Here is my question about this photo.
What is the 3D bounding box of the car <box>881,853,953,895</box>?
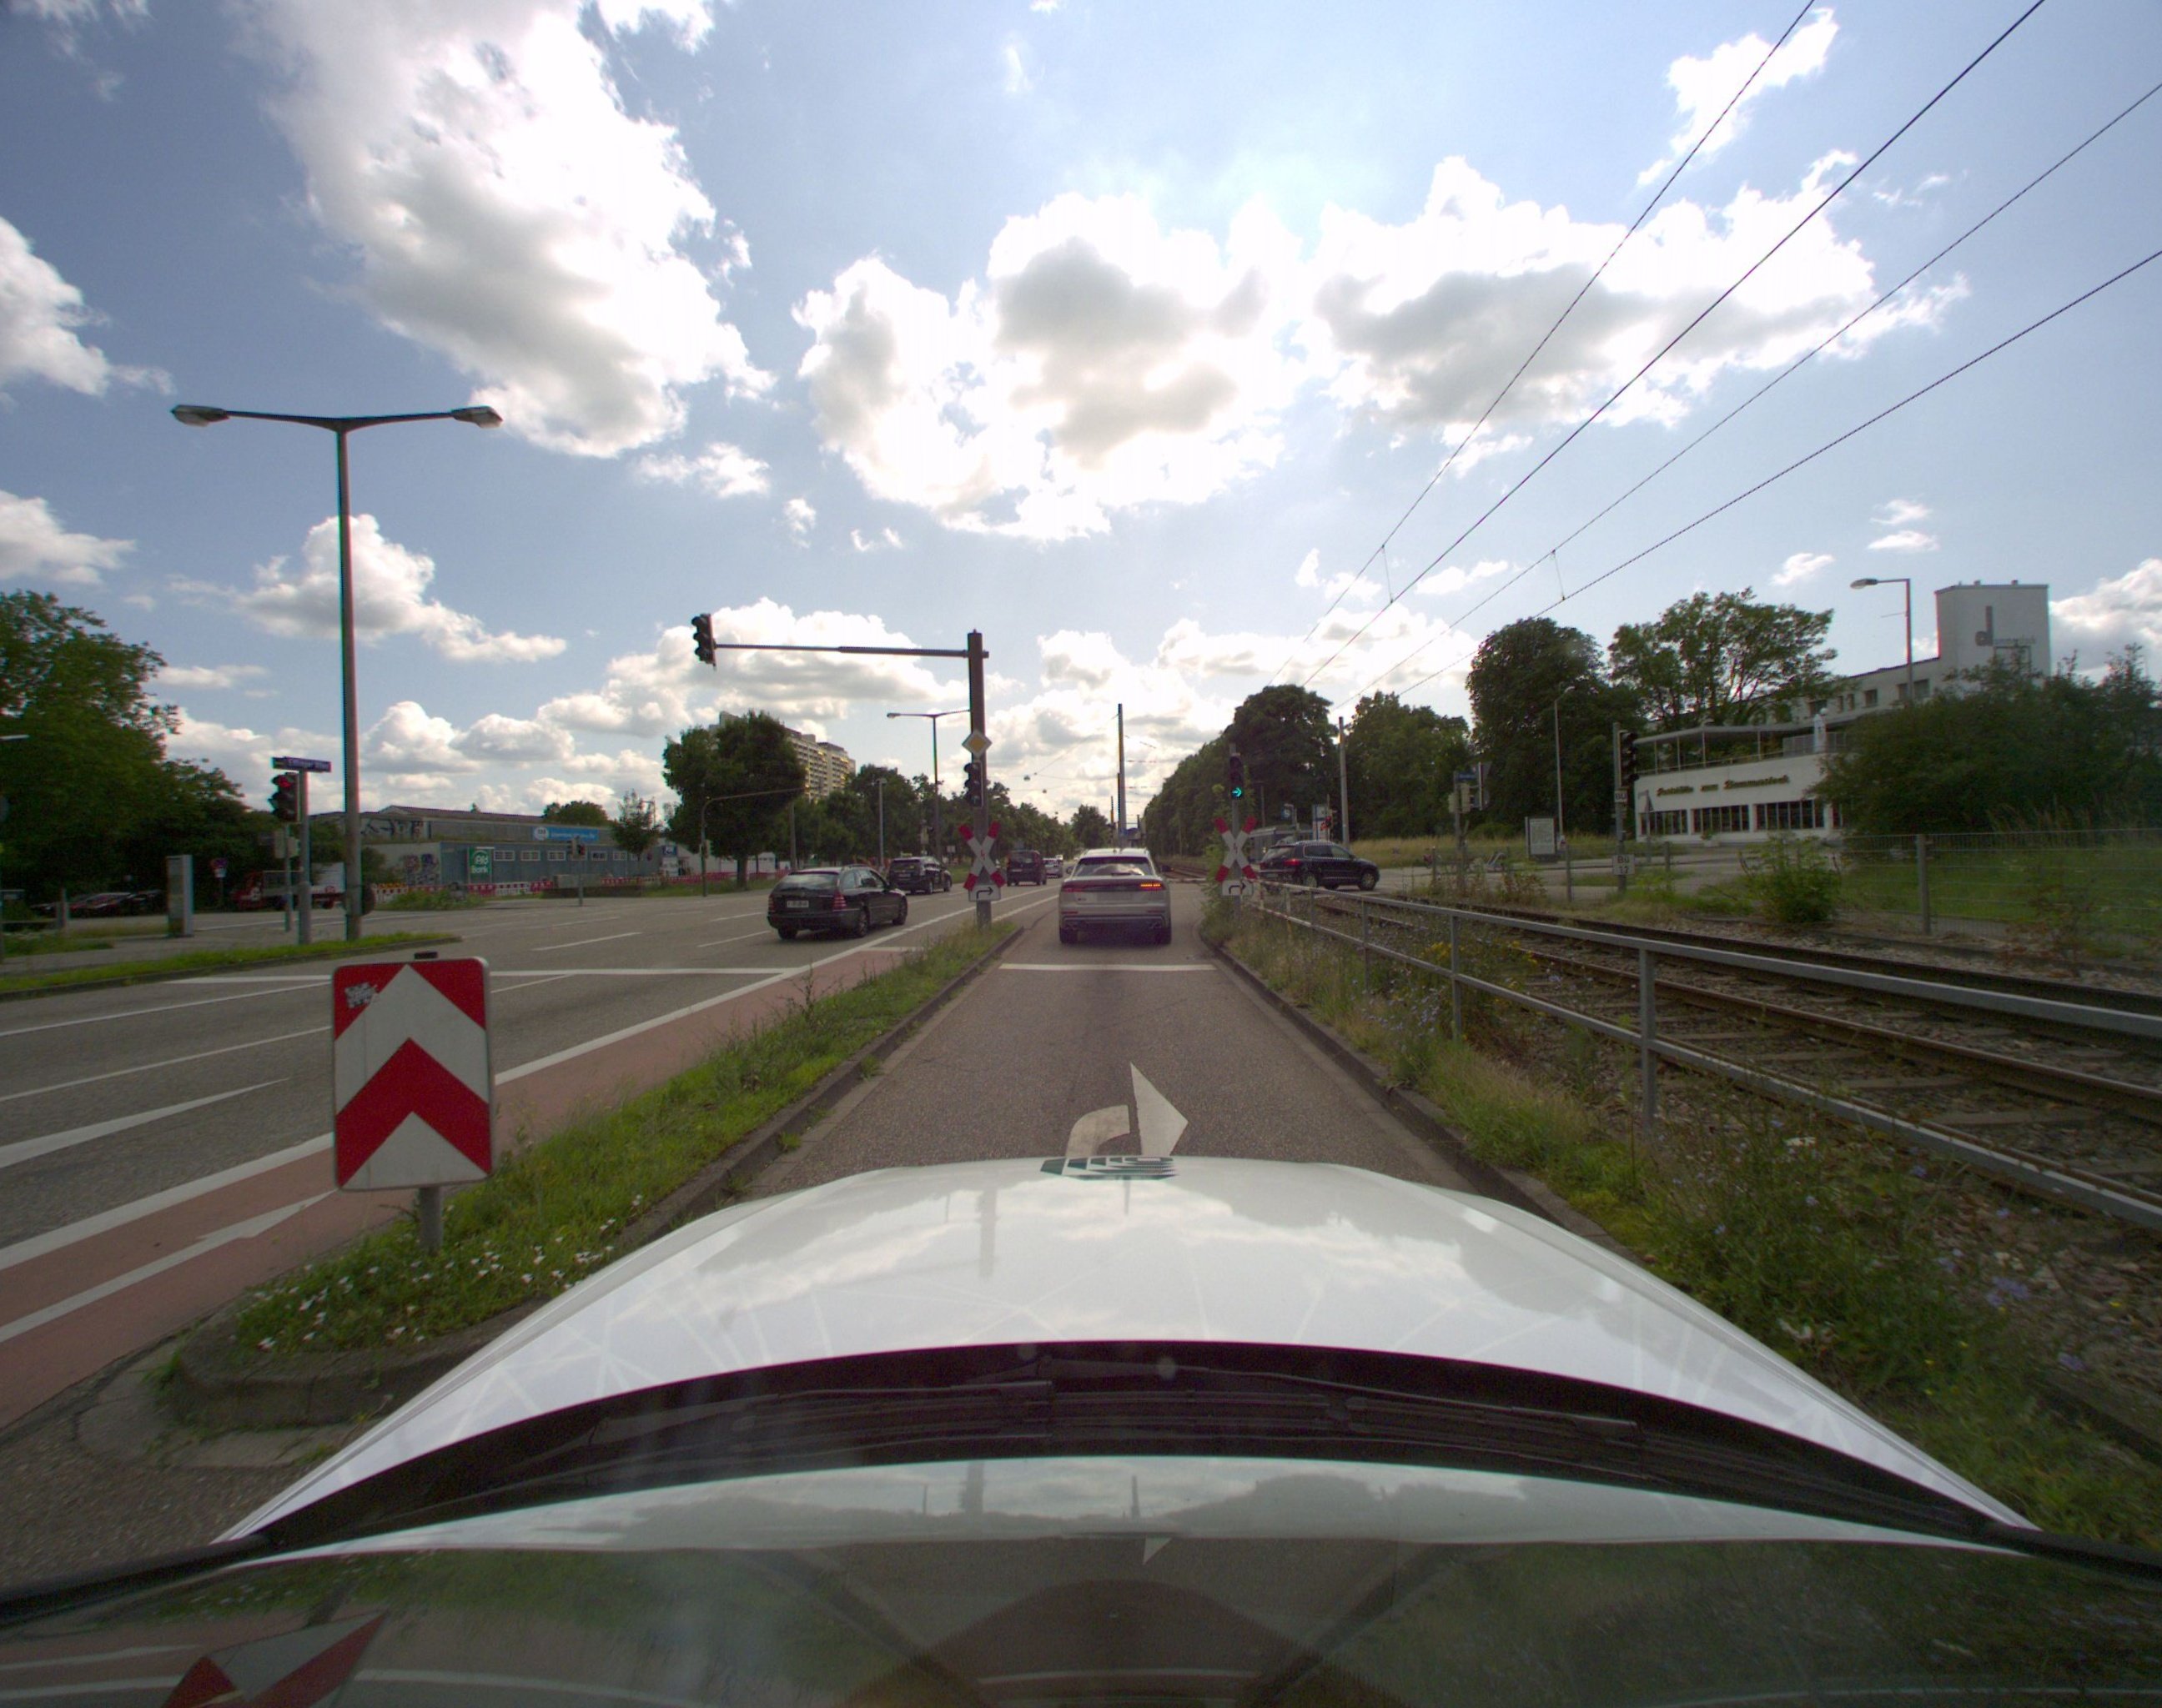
[{"bbox_3d":[-6.826,0.809,34.309,1.777,1.668,4.346,-1,-1,5],"label":"car"}]

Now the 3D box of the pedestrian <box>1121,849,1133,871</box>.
[{"bbox_3d":[3.251,0.449,57.630,0.653,1.513,0.716,-2,0,-7],"label":"pedestrian"}]

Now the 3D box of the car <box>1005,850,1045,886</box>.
[{"bbox_3d":[-2.922,0.739,43.115,1.753,1.777,3.909,-1,-1,1],"label":"car"}]

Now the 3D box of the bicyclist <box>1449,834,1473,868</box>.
[{"bbox_3d":[17.109,-0.120,36.642,0.835,1.475,0.456,-2,-1,4],"label":"bicyclist"}]

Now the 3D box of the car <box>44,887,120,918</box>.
[{"bbox_3d":[-64.298,3.117,52.430,3.955,1.786,1.719,-2,0,17],"label":"car"}]

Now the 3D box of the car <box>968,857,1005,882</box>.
[{"bbox_3d":[-5.884,0.956,51.122,1.858,1.504,4.000,-1,-1,0],"label":"car"}]

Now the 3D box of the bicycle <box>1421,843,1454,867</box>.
[{"bbox_3d":[18.285,0.039,41.719,1.667,1.132,0.694,-4,1,-32],"label":"bicycle"}]

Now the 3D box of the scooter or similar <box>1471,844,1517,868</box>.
[{"bbox_3d":[18.471,0.091,36.428,1.567,0.979,0.964,-3,-1,5],"label":"scooter or similar"}]

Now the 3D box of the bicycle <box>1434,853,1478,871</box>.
[{"bbox_3d":[16.914,0.361,36.712,1.714,0.765,0.556,-1,-1,4],"label":"bicycle"}]

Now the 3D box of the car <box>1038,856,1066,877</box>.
[{"bbox_3d":[-2.112,0.925,60.938,1.779,1.525,4.303,-1,-1,2],"label":"car"}]

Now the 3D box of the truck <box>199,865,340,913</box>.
[{"bbox_3d":[-46.558,1.993,46.734,6.905,2.439,3.055,-2,0,20],"label":"truck"}]

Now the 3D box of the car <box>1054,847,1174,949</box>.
[{"bbox_3d":[0.672,0.727,15.920,1.973,1.684,4.578,-1,0,3],"label":"car"}]

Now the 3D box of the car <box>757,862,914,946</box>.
[{"bbox_3d":[-5.012,0.944,17.327,1.748,1.466,4.436,-2,0,3],"label":"car"}]

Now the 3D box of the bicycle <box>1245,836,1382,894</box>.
[{"bbox_3d":[7.546,0.322,26.287,4.226,1.675,1.979,-2,0,-35],"label":"bicycle"}]
